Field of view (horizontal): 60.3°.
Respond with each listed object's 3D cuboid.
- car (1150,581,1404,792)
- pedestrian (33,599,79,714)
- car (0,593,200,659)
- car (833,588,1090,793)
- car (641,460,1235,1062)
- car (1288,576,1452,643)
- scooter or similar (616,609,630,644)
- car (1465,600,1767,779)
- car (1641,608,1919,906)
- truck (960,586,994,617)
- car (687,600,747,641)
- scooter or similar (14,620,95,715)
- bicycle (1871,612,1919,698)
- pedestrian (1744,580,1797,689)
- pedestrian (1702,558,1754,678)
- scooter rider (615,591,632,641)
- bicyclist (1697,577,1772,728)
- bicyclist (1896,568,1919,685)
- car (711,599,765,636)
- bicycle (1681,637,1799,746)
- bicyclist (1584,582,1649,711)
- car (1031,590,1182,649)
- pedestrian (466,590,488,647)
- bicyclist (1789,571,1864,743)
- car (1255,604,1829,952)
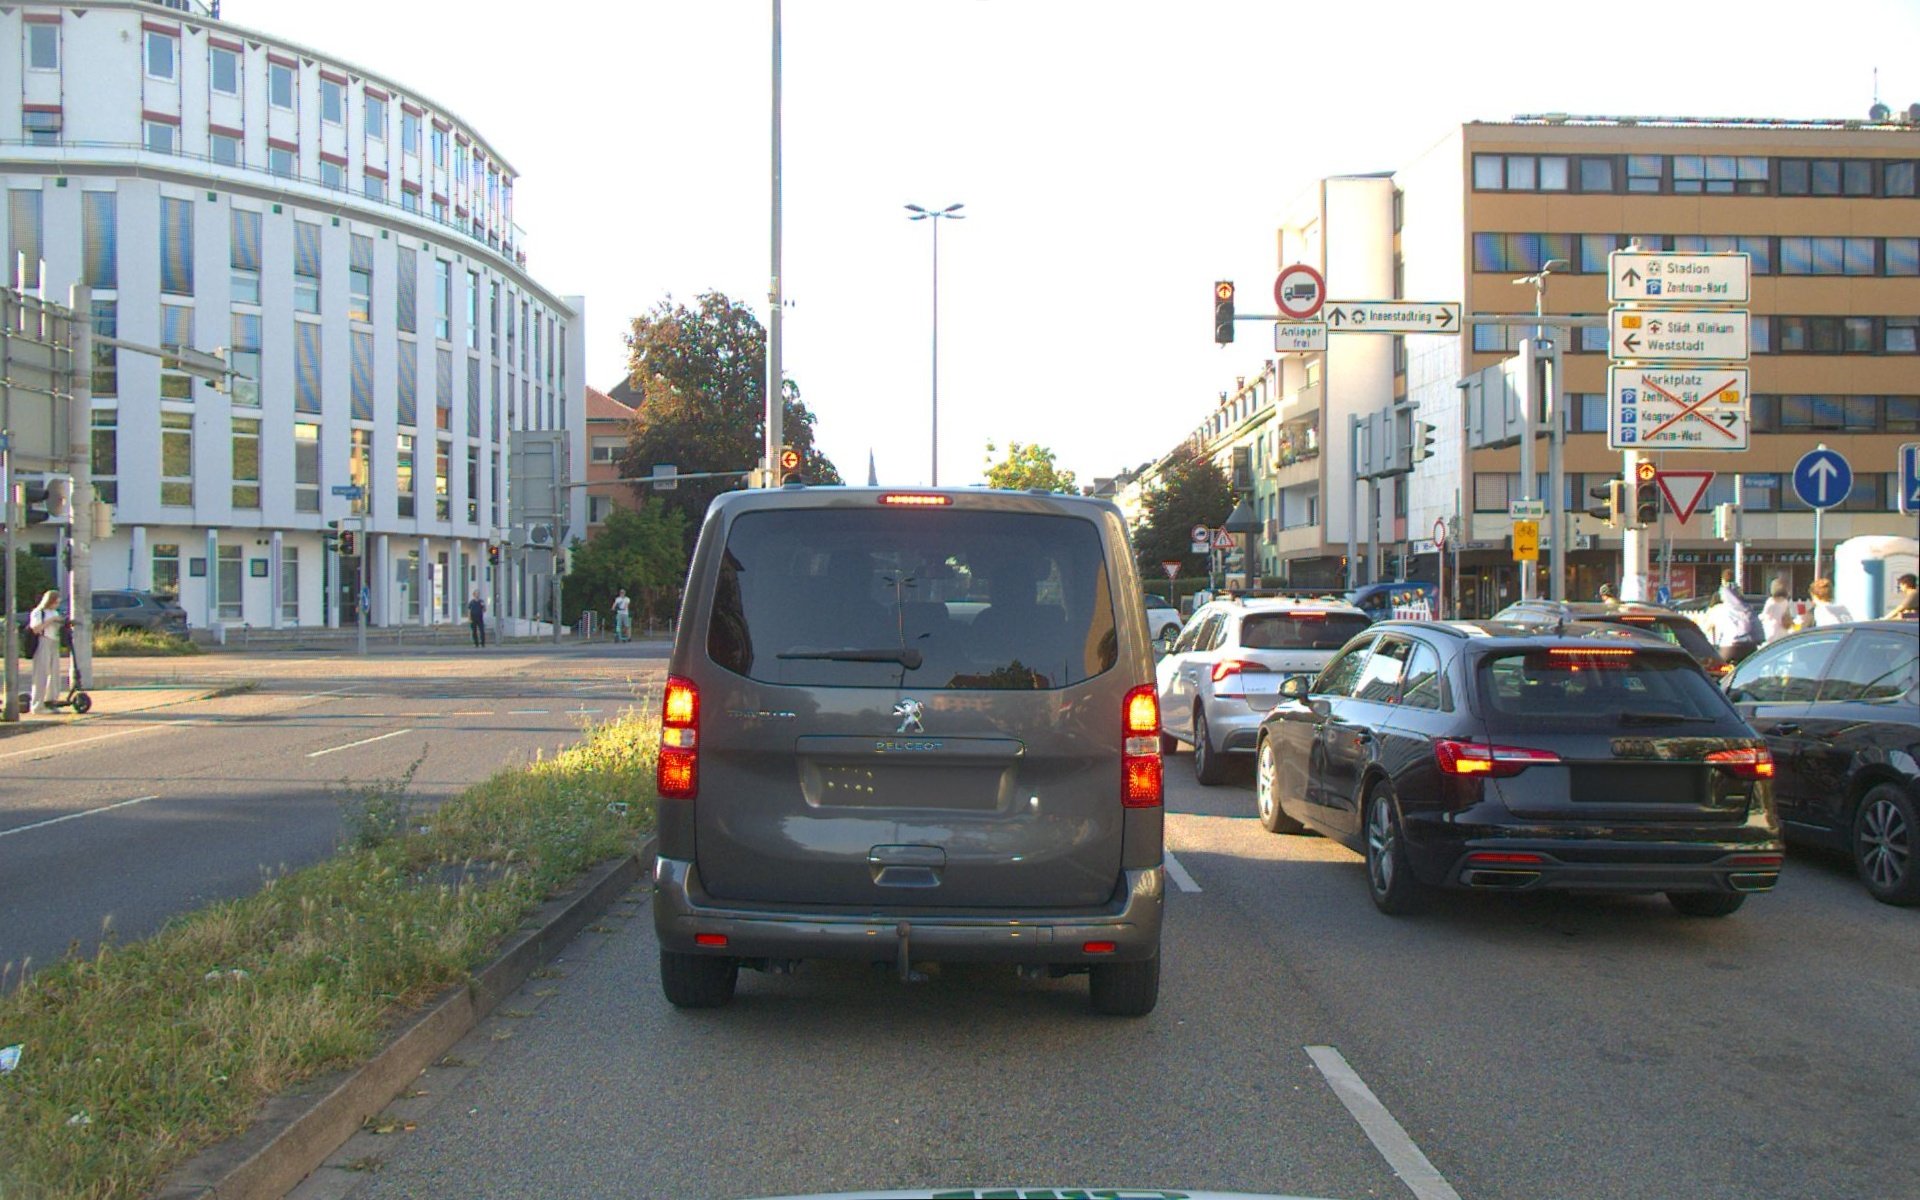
[{"bbox_3d":[2.727,0.682,14.965,1.498,1.641,3.744,1,0,-1],"label":"car"},{"bbox_3d":[-12.226,0.755,22.370,0.466,1.532,0.334,0,0,-13],"label":"pedestrian"},{"bbox_3d":[-21.688,0.636,41.734,4.263,1.576,1.782,0,0,-13],"label":"car"},{"bbox_3d":[-0.015,0.681,14.625,1.953,1.557,3.999,0,0,-1],"label":"car"},{"bbox_3d":[-0.101,0.513,7.565,1.868,1.896,4.525,1,0,-1],"label":"car"},{"bbox_3d":[11.756,0.247,47.519,4.147,1.849,1.991,-1,0,-16],"label":"car"},{"bbox_3d":[-11.858,0.921,58.238,0.279,1.209,1.169,0,0,-1],"label":"scooter or similar"},{"bbox_3d":[5.979,0.746,15.457,1.474,1.474,3.304,0,0,-1],"label":"car"},{"bbox_3d":[5.616,0.814,9.747,1.600,1.474,3.744,1,0,-1],"label":"car"},{"bbox_3d":[1.226,0.085,116.462,2.083,2.123,4.633,0,0,4],"label":"truck"},{"bbox_3d":[-9.122,0.740,62.348,1.819,1.445,3.998,0,0,-2],"label":"car"},{"bbox_3d":[-12.158,0.897,22.223,0.877,1.255,0.370,0,0,-12],"label":"scooter or similar"},{"bbox_3d":[13.580,0.779,23.079,1.470,1.181,0.372,2,1,37],"label":"bicycle"},{"bbox_3d":[12.807,0.539,26.146,0.592,1.700,0.453,0,0,-15],"label":"pedestrian"},{"bbox_3d":[12.080,0.279,26.012,0.560,1.866,0.485,0,0,-15],"label":"pedestrian"},{"bbox_3d":[-11.852,0.561,58.215,0.471,1.727,0.636,0,0,-1],"label":"scooter rider"},{"bbox_3d":[8.138,0.534,17.397,0.432,1.552,0.725,0,0,-1],"label":"bicyclist"},{"bbox_3d":[13.575,0.365,23.075,0.798,1.616,0.617,2,1,37],"label":"bicyclist"},{"bbox_3d":[-9.065,0.690,67.876,1.819,1.445,3.998,0,0,-2],"label":"car"},{"bbox_3d":[8.134,0.926,17.314,0.329,1.025,1.855,0,0,-1],"label":"bicycle"},{"bbox_3d":[8.066,0.556,20.332,0.503,1.552,0.725,0,0,-1],"label":"bicyclist"},{"bbox_3d":[3.869,0.497,43.771,3.628,1.412,1.683,-2,0,-26],"label":"car"},{"bbox_3d":[-14.805,0.562,50.689,0.615,1.752,0.669,0,0,-15],"label":"pedestrian"},{"bbox_3d":[7.975,0.514,15.237,0.432,1.552,0.482,0,0,-1],"label":"bicyclist"},{"bbox_3d":[2.889,0.773,9.238,1.647,1.446,4.213,1,0,-1],"label":"car"}]
